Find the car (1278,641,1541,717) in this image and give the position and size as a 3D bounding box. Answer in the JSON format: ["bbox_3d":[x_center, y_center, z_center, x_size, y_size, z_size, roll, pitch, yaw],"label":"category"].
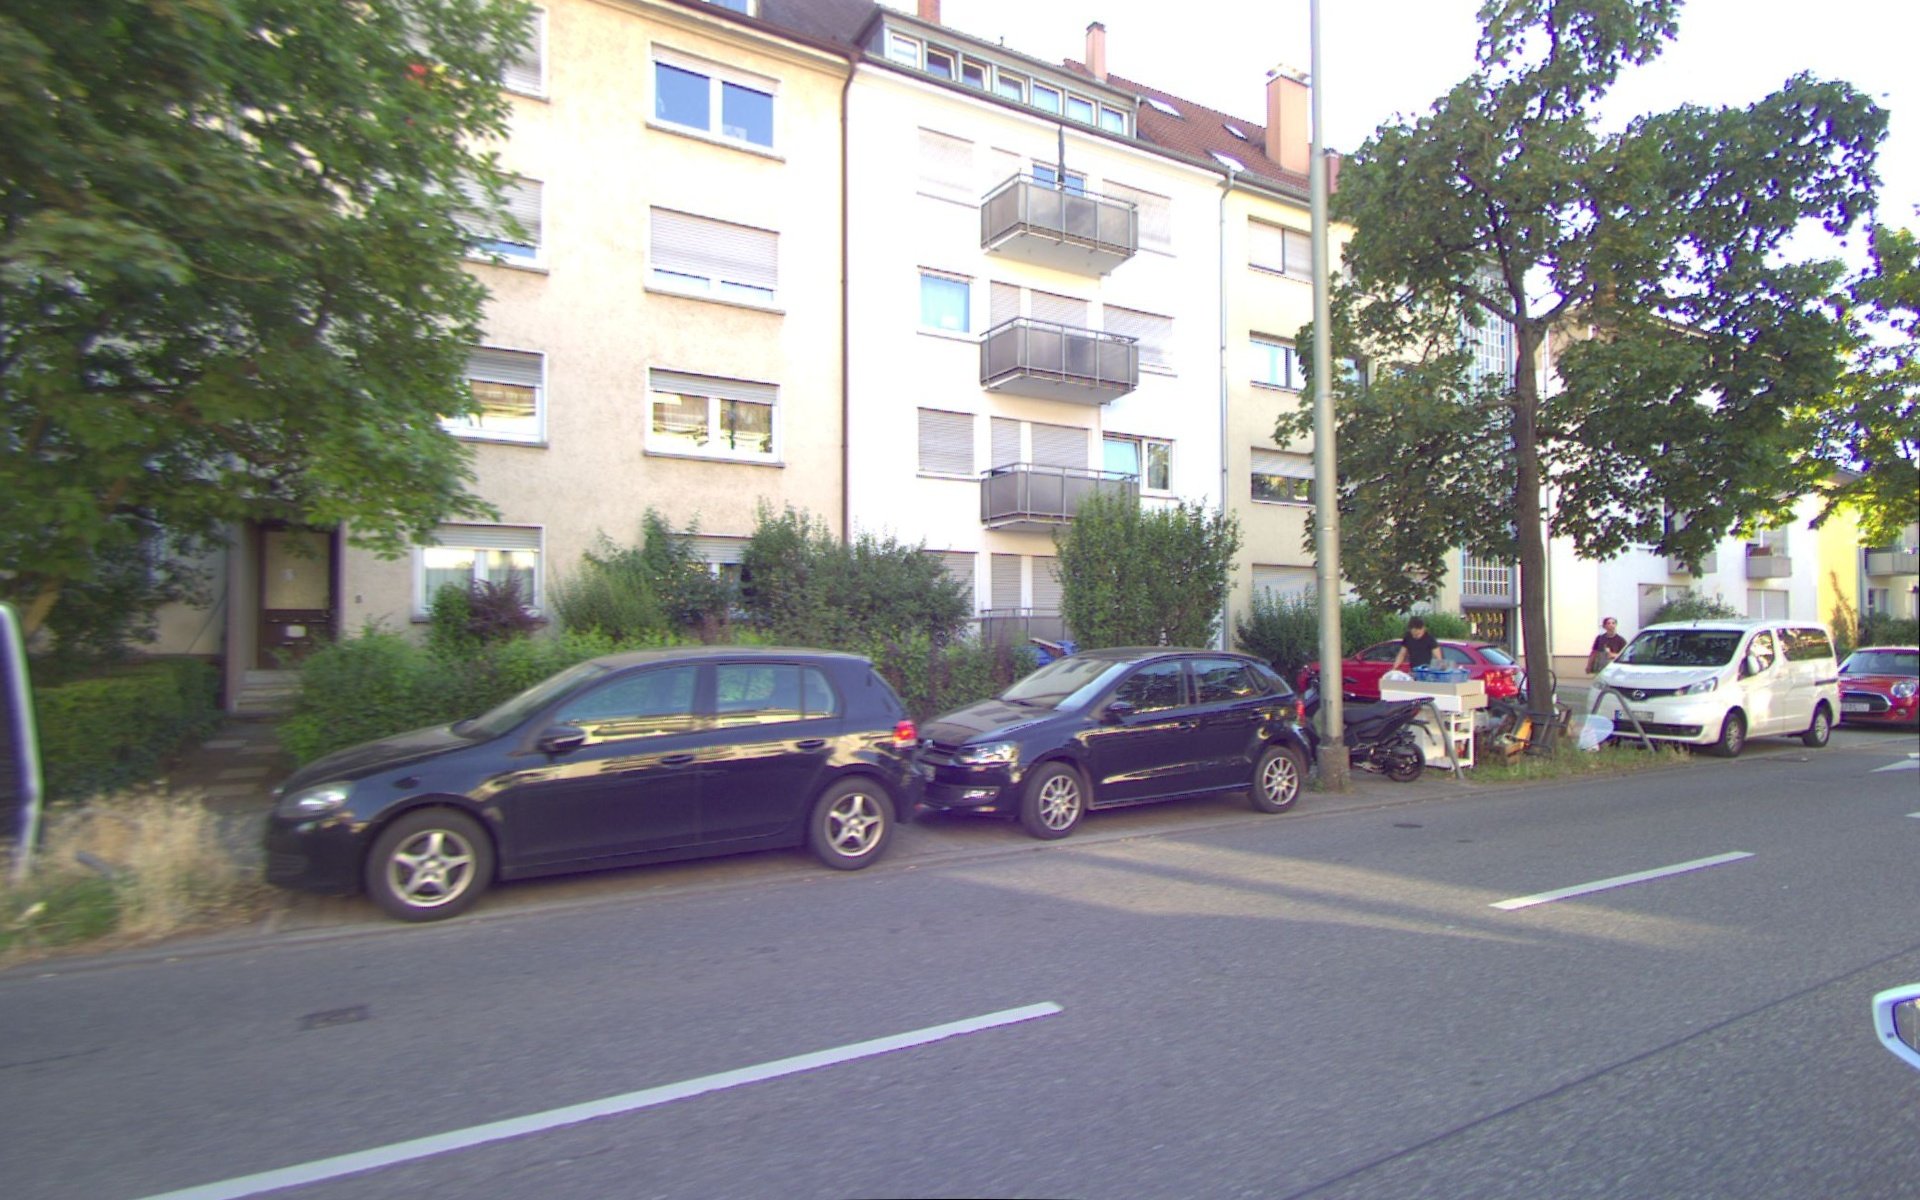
[{"bbox_3d":[9.349,1.577,21.195,1.985,1.380,4.668,1,-3,-42],"label":"car"}]

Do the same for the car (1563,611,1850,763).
[{"bbox_3d":[10.983,1.160,14.720,4.406,1.944,1.762,1,-2,-30],"label":"car"}]

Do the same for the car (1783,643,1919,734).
[{"bbox_3d":[16.757,1.518,18.141,3.741,1.439,1.709,1,-2,-30],"label":"car"}]

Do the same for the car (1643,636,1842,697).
[{"bbox_3d":[21.669,1.785,27.954,1.979,1.498,3.964,1,-1,-33],"label":"car"}]

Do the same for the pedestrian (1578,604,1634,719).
[{"bbox_3d":[11.765,1.104,18.295,0.609,2.040,0.624,0,-2,-30],"label":"pedestrian"}]

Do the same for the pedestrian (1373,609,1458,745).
[{"bbox_3d":[7.077,1.170,15.606,0.964,2.040,0.763,1,-2,-30],"label":"pedestrian"}]

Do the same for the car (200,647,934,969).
[{"bbox_3d":[-2.402,1.118,6.801,4.147,1.522,1.742,1,-2,-30],"label":"car"}]

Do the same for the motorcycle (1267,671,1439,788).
[{"bbox_3d":[4.243,1.391,10.923,1.672,1.207,0.442,-1,-2,8],"label":"motorcycle"}]

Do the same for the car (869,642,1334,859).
[{"bbox_3d":[1.322,1.165,9.057,3.931,1.522,1.742,1,-2,-30],"label":"car"}]
